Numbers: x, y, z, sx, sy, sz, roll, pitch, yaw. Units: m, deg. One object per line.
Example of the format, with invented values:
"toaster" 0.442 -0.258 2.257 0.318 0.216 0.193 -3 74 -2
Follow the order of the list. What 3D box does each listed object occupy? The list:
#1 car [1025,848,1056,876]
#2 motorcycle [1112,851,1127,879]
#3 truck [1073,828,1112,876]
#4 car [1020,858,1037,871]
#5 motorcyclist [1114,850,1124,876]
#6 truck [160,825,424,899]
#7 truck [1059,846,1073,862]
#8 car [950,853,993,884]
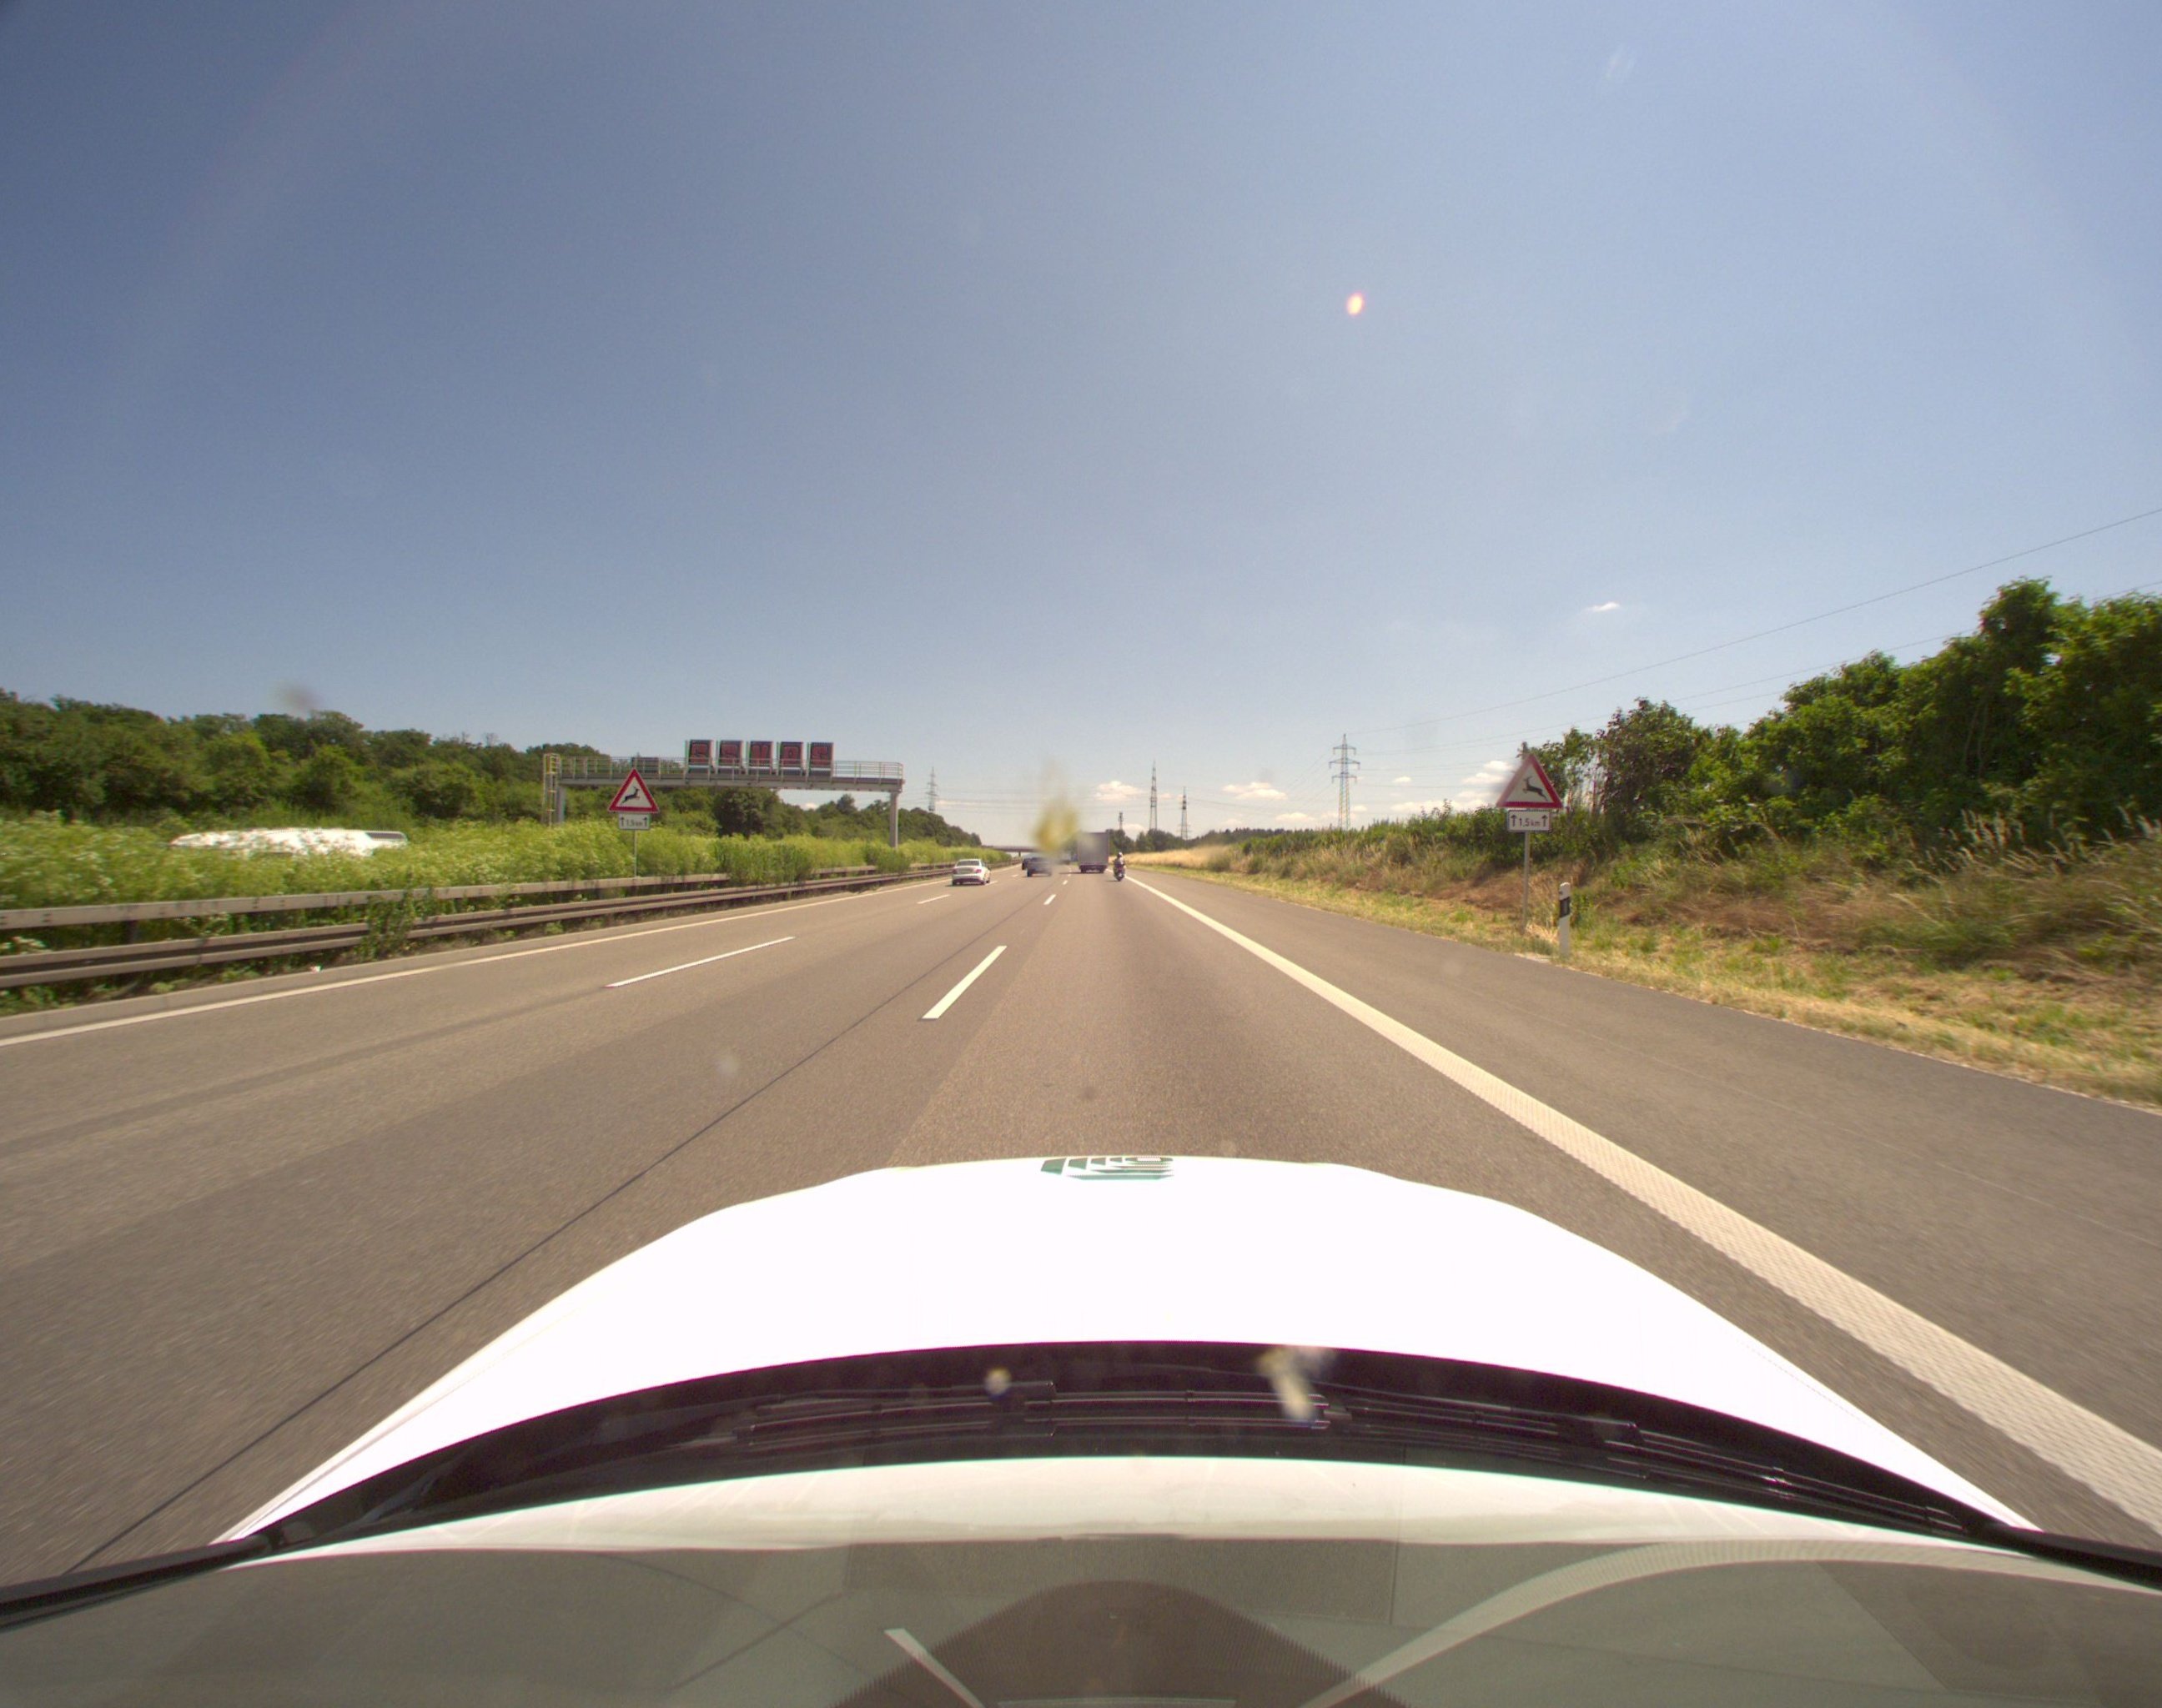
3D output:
"car" -2.995 0.578 61.158 1.986 2.013 4.002 -2 1 2
"motorcycle" 2.257 0.622 47.791 0.807 1.607 1.782 -1 0 1
"truck" 1.017 -0.182 73.054 3.210 3.924 9.061 -1 0 1
"car" -6.241 1.246 97.260 1.752 1.429 3.997 -2 1 -2
"motorcyclist" 2.221 0.504 47.725 0.570 1.479 0.700 -2 0 0
"truck" -24.591 0.199 25.909 1.986 2.013 6.400 -2 1 1
"truck" -3.974 -0.065 211.327 3.476 3.912 7.283 -1 0 -2
"car" -6.029 0.756 45.101 1.814 1.540 3.914 -2 1 0
